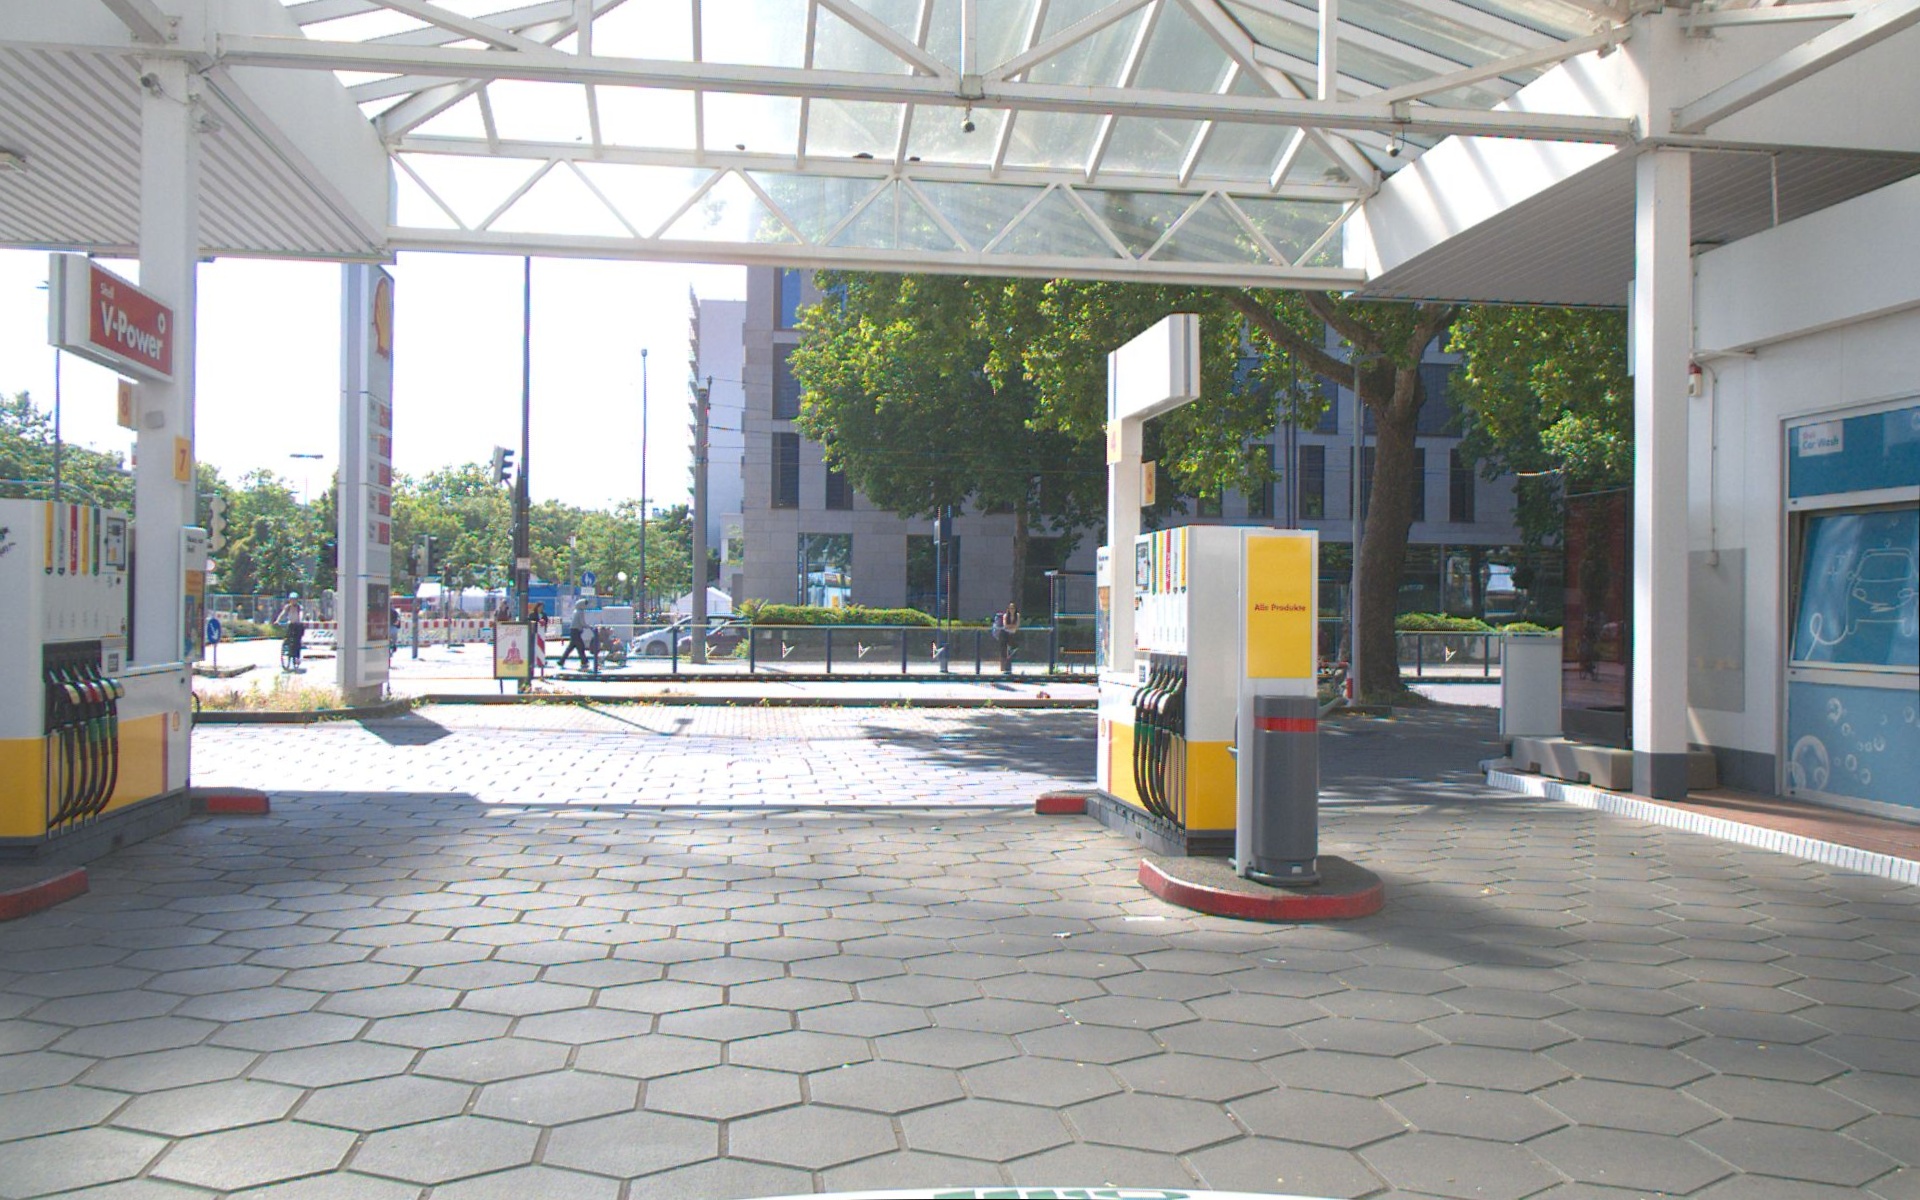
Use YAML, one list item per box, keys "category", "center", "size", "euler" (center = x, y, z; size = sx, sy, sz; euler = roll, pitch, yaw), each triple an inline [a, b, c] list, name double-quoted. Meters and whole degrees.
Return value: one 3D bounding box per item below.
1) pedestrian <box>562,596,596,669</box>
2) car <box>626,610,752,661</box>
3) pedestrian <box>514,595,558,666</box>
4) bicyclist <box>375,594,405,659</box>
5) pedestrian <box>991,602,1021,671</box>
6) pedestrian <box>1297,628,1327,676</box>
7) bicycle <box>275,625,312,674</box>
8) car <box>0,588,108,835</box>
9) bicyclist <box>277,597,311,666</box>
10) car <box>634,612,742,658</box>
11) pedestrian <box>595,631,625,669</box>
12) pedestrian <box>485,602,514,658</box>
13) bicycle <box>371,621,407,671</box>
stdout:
- category: "pedestrian"
  center: [-9.045, 0.777, 39.282]
  size: [0.763, 1.712, 0.502]
  euler: [1, -1, -11]
- category: "car"
  center: [-8.754, 1.139, 53.381]
  size: [3.919, 1.579, 1.697]
  euler: [1, -1, -14]
- category: "pedestrian"
  center: [-10.428, 0.751, 40.667]
  size: [0.912, 1.712, 0.503]
  euler: [0, -1, 2]
- category: "bicyclist"
  center: [-13.886, 0.652, 40.309]
  size: [0.527, 1.571, 0.857]
  euler: [1, -1, -29]
- category: "pedestrian"
  center: [1.091, 0.859, 39.209]
  size: [0.573, 1.619, 0.669]
  euler: [1, 1, -8]
- category: "pedestrian"
  center: [8.642, 1.266, 40.593]
  size: [0.615, 1.158, 0.524]
  euler: [0, -1, -2]
- category: "bicycle"
  center: [-15.730, 1.150, 39.054]
  size: [0.627, 1.101, 2.016]
  euler: [1, -1, -17]
- category: "car"
  center: [-6.907, 0.713, 10.195]
  size: [1.711, 1.558, 3.992]
  euler: [-1, -1, -8]
- category: "bicyclist"
  center: [-15.746, 0.738, 39.130]
  size: [0.628, 1.608, 1.167]
  euler: [1, -1, -17]
- category: "car"
  center: [-9.496, 1.217, 57.614]
  size: [3.619, 1.579, 1.586]
  euler: [1, -1, -14]
- category: "pedestrian"
  center: [-8.337, 1.189, 39.431]
  size: [0.678, 0.896, 0.502]
  euler: [1, -1, -11]
- category: "pedestrian"
  center: [-13.121, 0.853, 47.137]
  size: [0.637, 1.567, 0.503]
  euler: [0, -1, 1]
- category: "bicycle"
  center: [-13.922, 1.107, 40.306]
  size: [0.517, 1.101, 1.850]
  euler: [1, 1, -28]
